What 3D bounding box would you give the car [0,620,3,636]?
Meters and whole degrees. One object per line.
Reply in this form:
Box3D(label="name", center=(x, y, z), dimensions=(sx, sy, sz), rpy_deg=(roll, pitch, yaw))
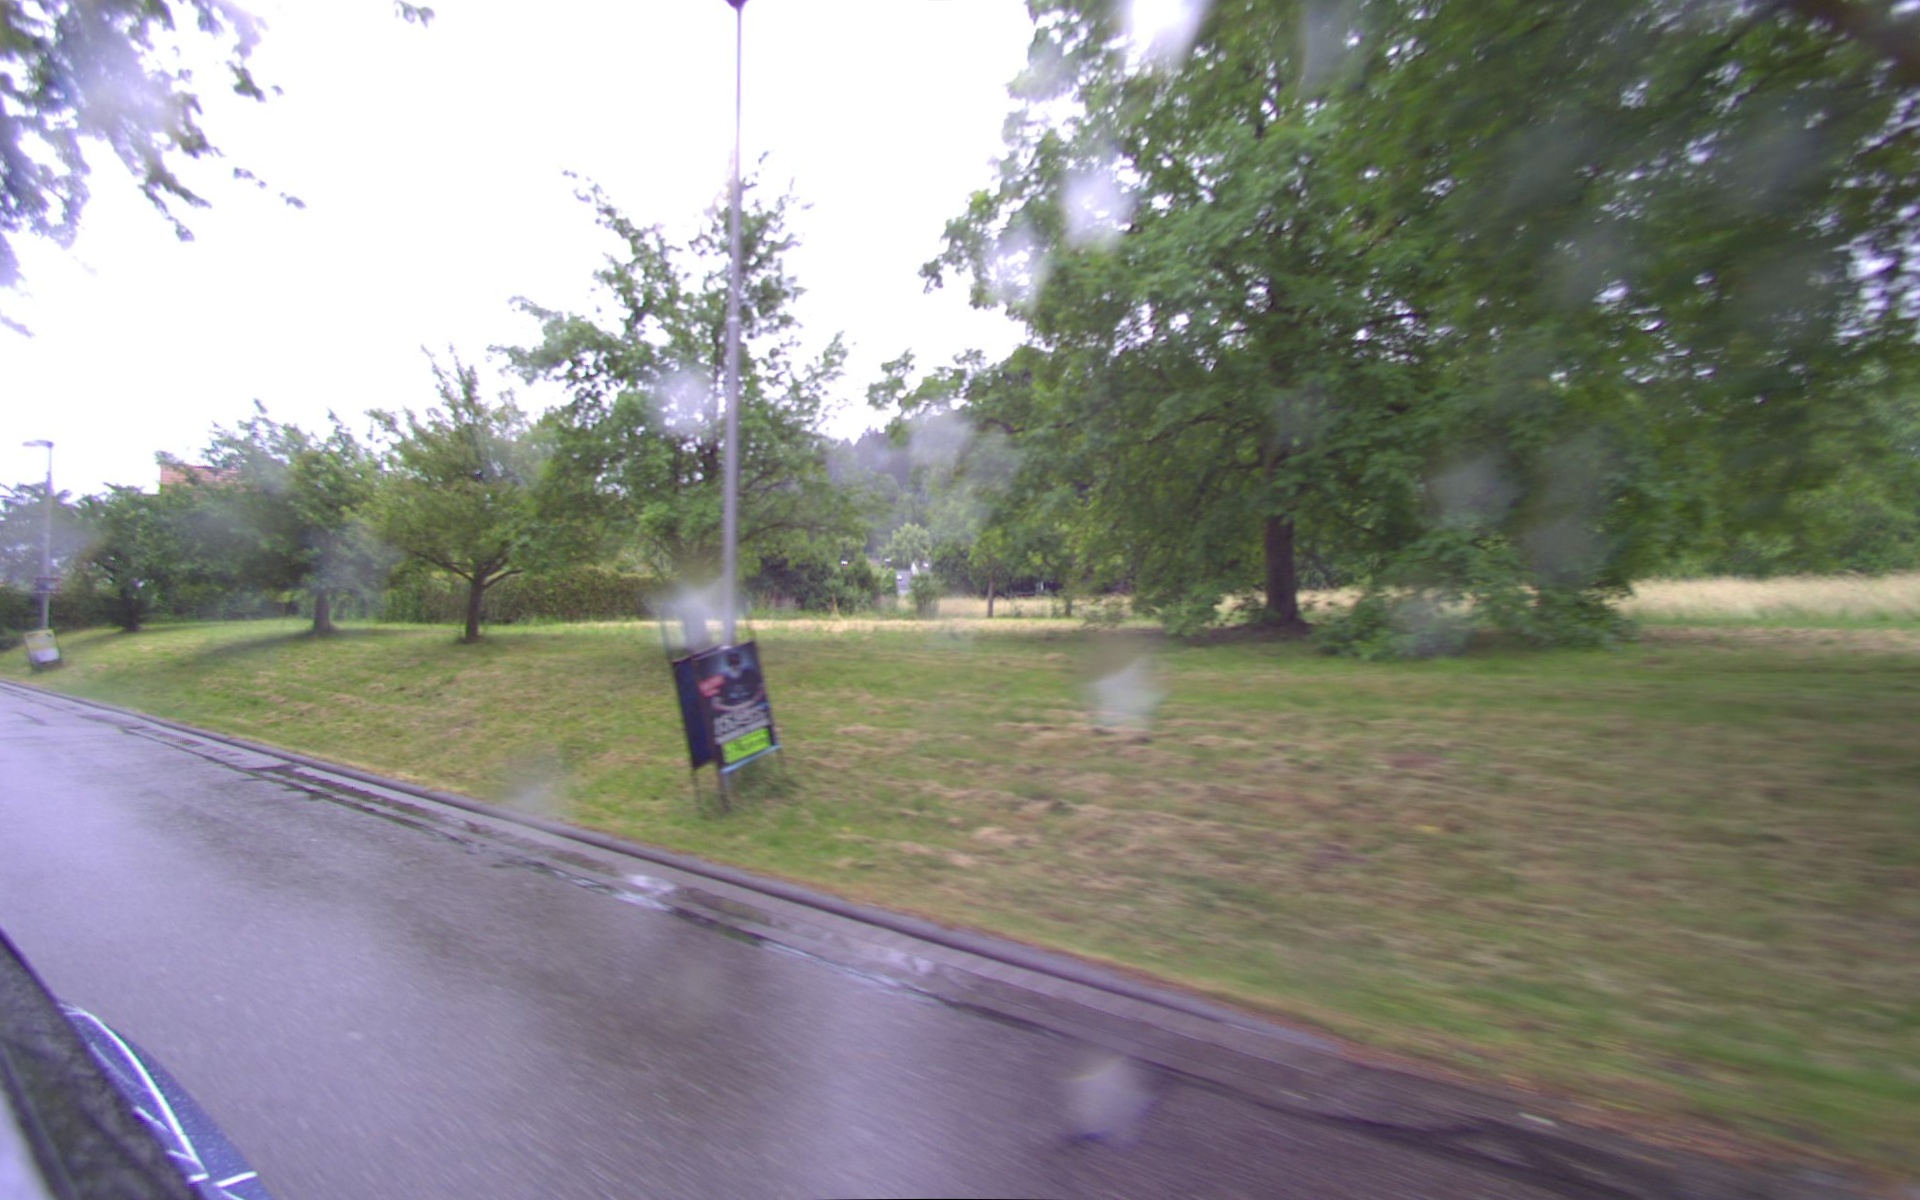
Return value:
Box3D(label="car", center=(-97.293, 2.822, 100.682), dimensions=(3.872, 1.587, 1.874), rpy_deg=(-1, 0, 28))
